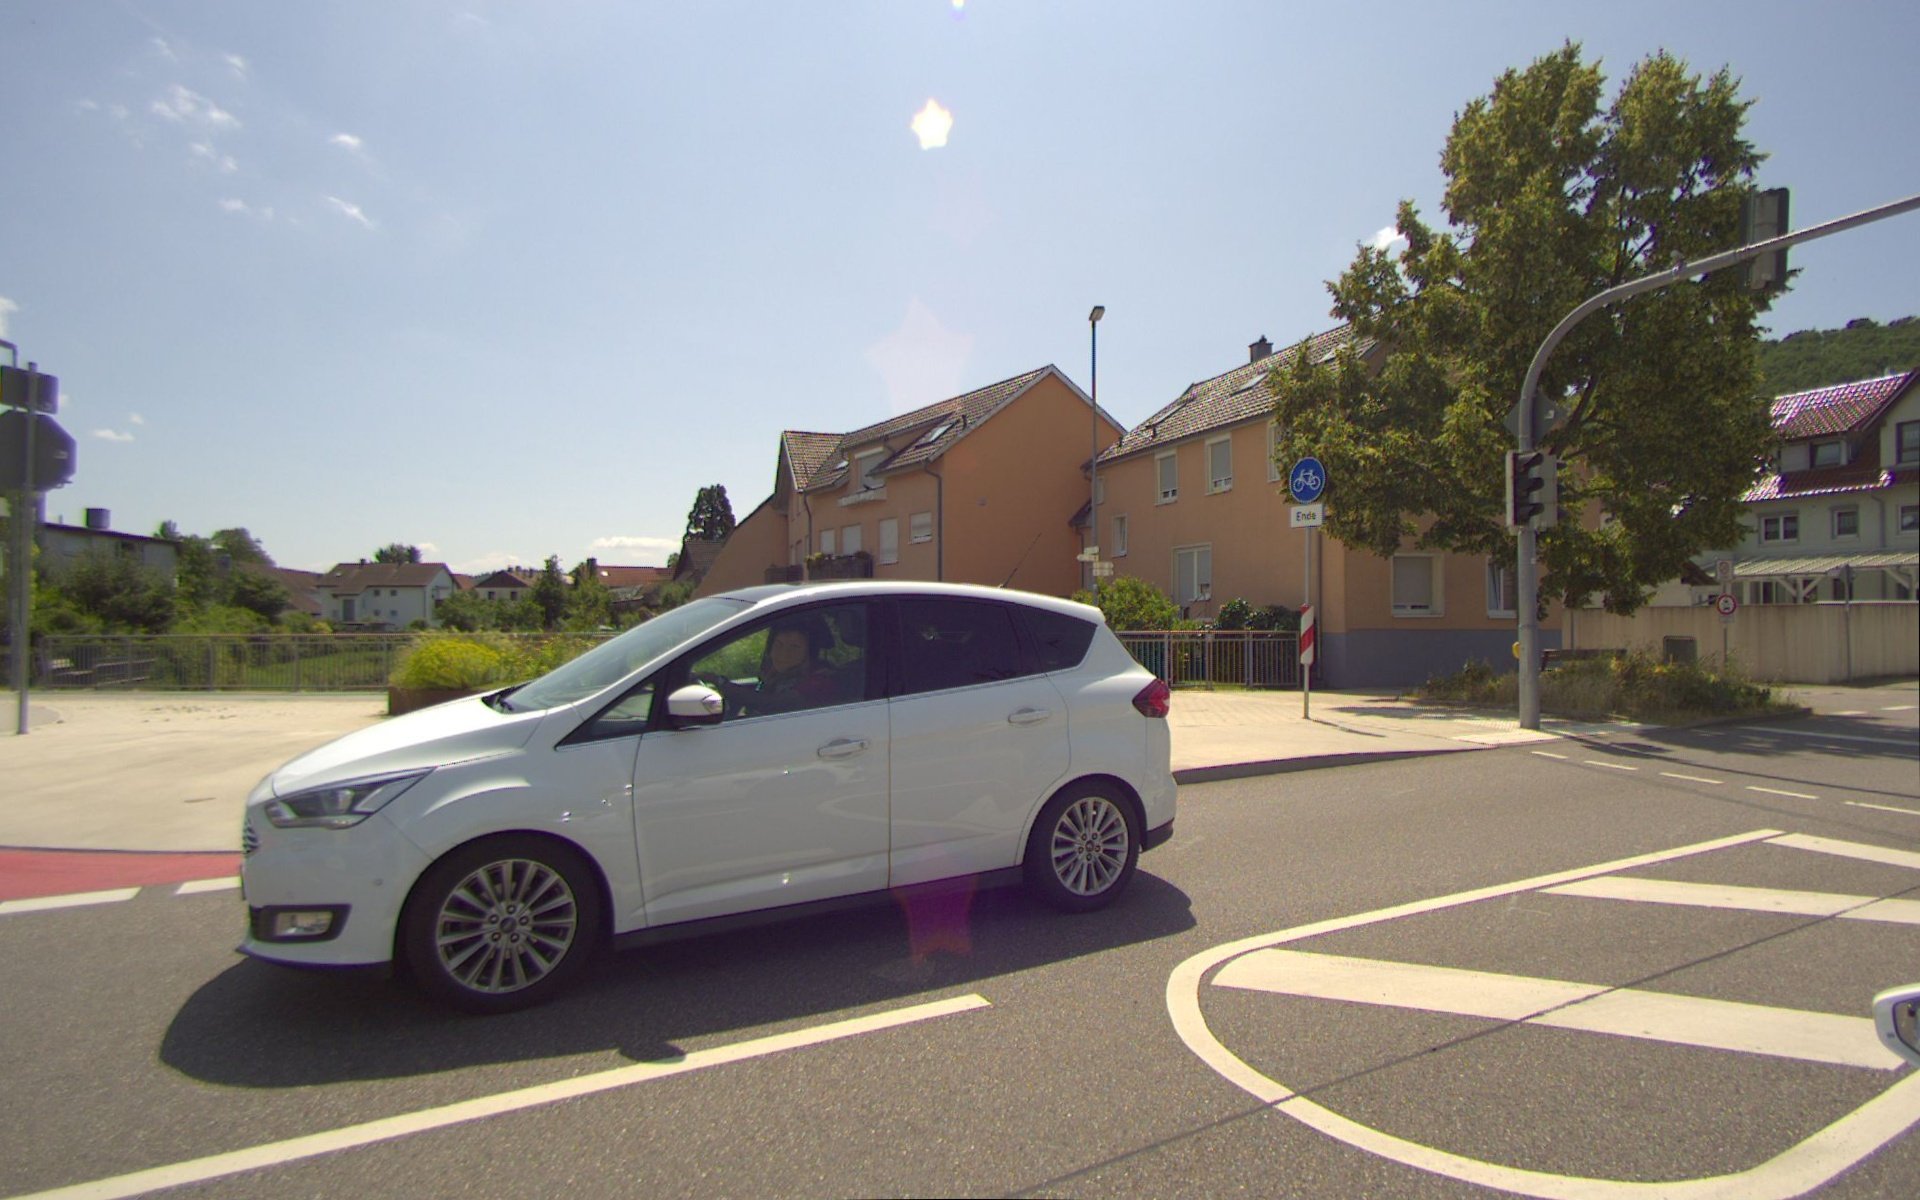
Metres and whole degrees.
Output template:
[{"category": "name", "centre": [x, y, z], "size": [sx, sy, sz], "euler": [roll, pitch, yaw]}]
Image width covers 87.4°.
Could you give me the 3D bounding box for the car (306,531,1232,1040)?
[{"category": "car", "centre": [-0.781, 0.648, 5.023], "size": [3.948, 1.671, 1.808], "euler": [1, 0, -27]}]
